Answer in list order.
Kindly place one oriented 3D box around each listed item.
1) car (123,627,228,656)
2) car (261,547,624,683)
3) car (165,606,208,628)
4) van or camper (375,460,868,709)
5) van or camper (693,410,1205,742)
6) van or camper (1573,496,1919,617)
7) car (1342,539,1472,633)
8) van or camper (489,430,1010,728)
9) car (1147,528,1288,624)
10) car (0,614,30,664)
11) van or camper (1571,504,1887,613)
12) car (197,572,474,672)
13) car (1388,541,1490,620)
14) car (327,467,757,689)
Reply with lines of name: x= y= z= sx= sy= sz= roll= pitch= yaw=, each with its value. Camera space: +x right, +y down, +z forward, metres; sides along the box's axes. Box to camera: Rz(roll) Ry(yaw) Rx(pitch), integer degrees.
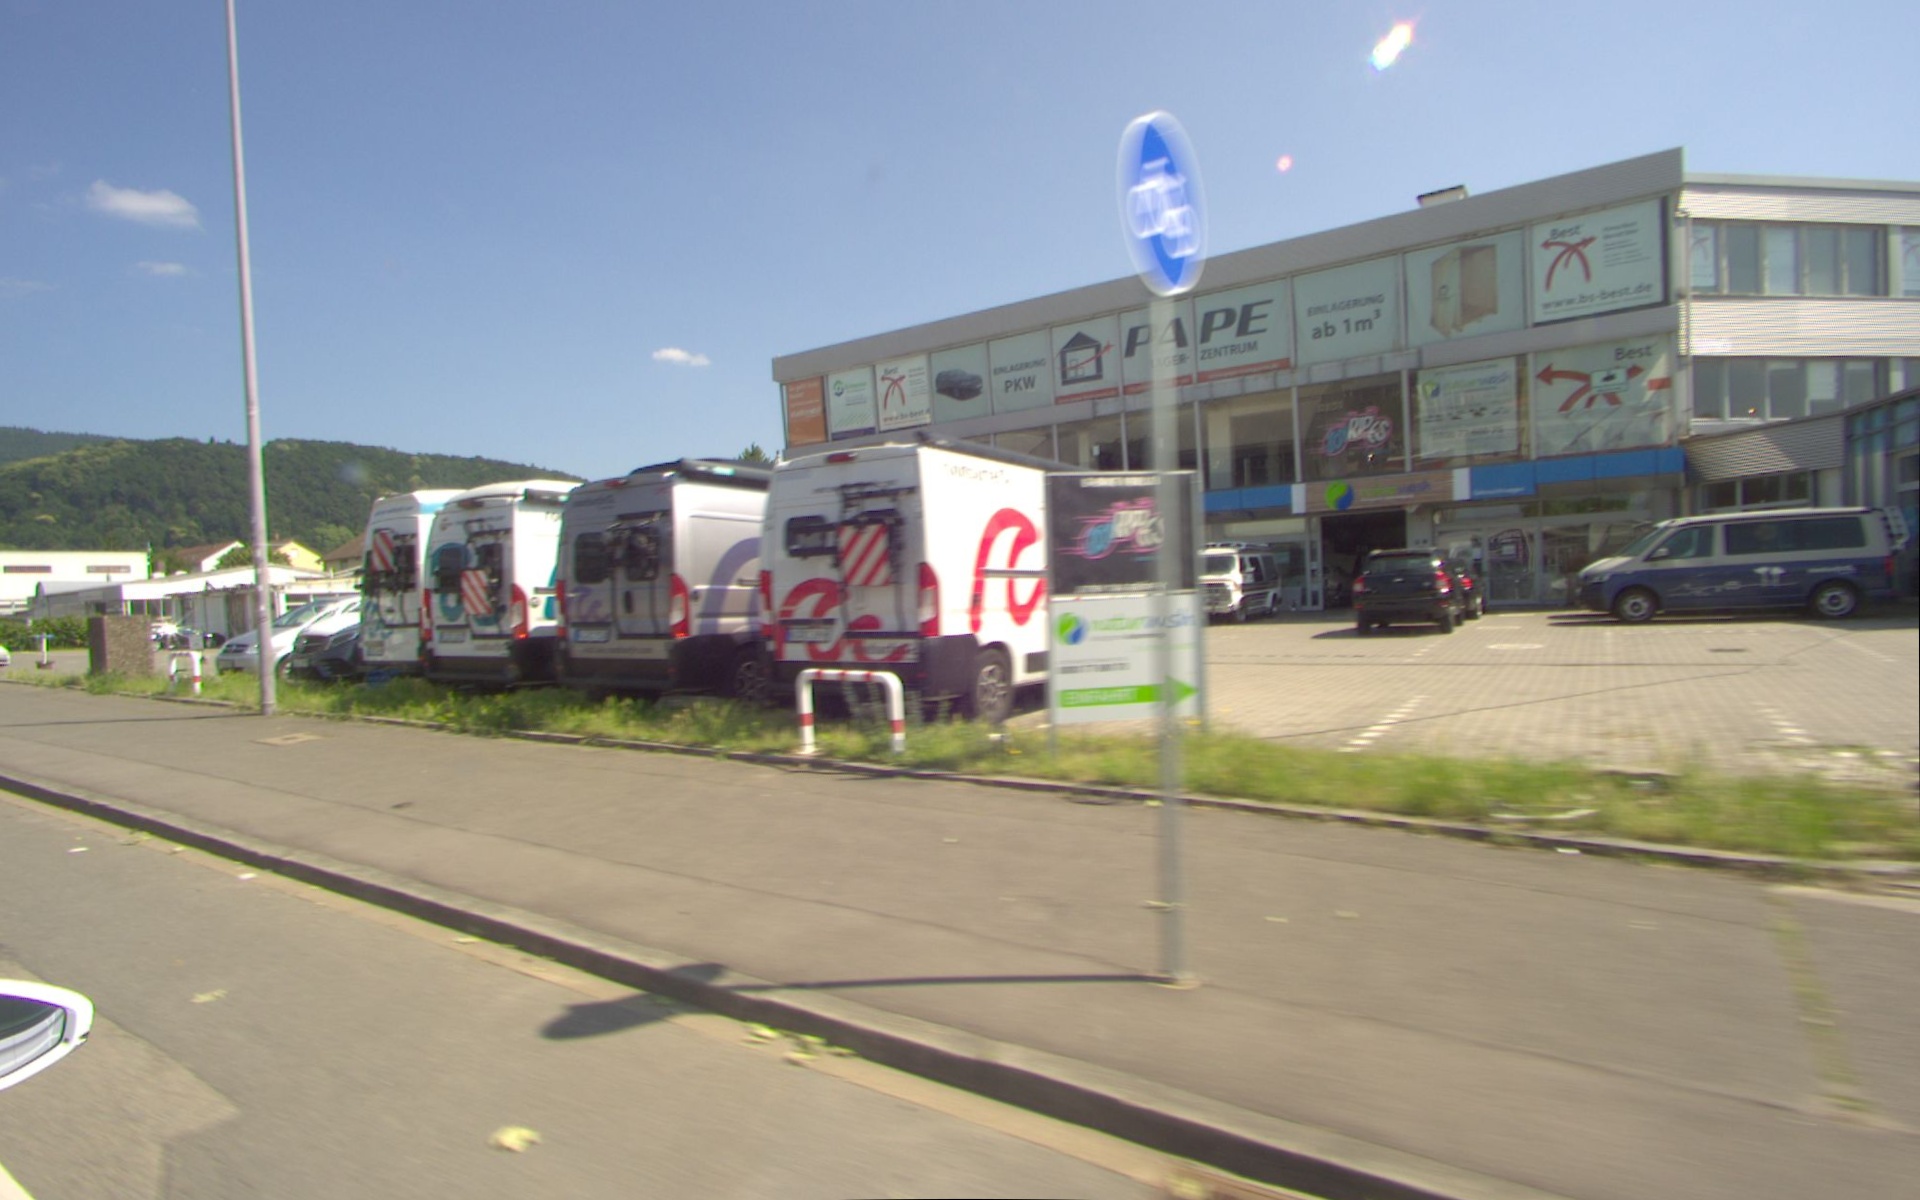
car: x=-44.547 y=2.307 z=56.953 sx=2.092 sy=1.417 sz=4.312 roll=-1 pitch=0 yaw=37
car: x=-8.632 y=0.118 z=17.288 sx=1.972 sy=1.979 sz=5.218 roll=-1 pitch=2 yaw=33
car: x=-62.234 y=1.358 z=80.628 sx=1.969 sy=1.669 sz=3.982 roll=0 pitch=1 yaw=-27
van or camper: x=-4.384 y=-0.238 z=14.373 sx=2.675 sy=2.737 sz=6.331 roll=-1 pitch=1 yaw=34
van or camper: x=0.360 y=-0.249 z=11.030 sx=2.583 sy=2.559 sz=6.177 roll=-1 pitch=1 yaw=34
van or camper: x=14.752 y=-0.753 z=19.212 sx=4.944 sy=2.041 sz=1.991 roll=-1 pitch=1 yaw=27
car: x=9.268 y=-0.304 z=20.543 sx=1.970 sy=1.701 sz=4.529 roll=-1 pitch=1 yaw=30
van or camper: x=-2.158 y=-0.260 z=12.647 sx=2.675 sy=2.753 sz=6.331 roll=-1 pitch=1 yaw=34
car: x=7.436 y=-0.674 z=28.468 sx=2.293 sy=2.452 sz=5.282 roll=-1 pitch=2 yaw=33
car: x=-35.204 y=1.376 z=33.971 sx=4.955 sy=1.640 sz=2.024 roll=-1 pitch=-4 yaw=-14
van or camper: x=16.086 y=-0.801 z=21.380 sx=5.037 sy=2.041 sz=2.114 roll=-1 pitch=1 yaw=29
car: x=-11.295 y=0.323 z=18.366 sx=1.773 sy=1.615 sz=3.911 roll=-1 pitch=1 yaw=33
car: x=11.826 y=-0.492 z=24.590 sx=1.970 sy=1.756 sz=4.098 roll=-1 pitch=1 yaw=30
car: x=-6.411 y=-0.355 z=16.385 sx=2.288 sy=2.908 sz=6.210 roll=-1 pitch=1 yaw=34
